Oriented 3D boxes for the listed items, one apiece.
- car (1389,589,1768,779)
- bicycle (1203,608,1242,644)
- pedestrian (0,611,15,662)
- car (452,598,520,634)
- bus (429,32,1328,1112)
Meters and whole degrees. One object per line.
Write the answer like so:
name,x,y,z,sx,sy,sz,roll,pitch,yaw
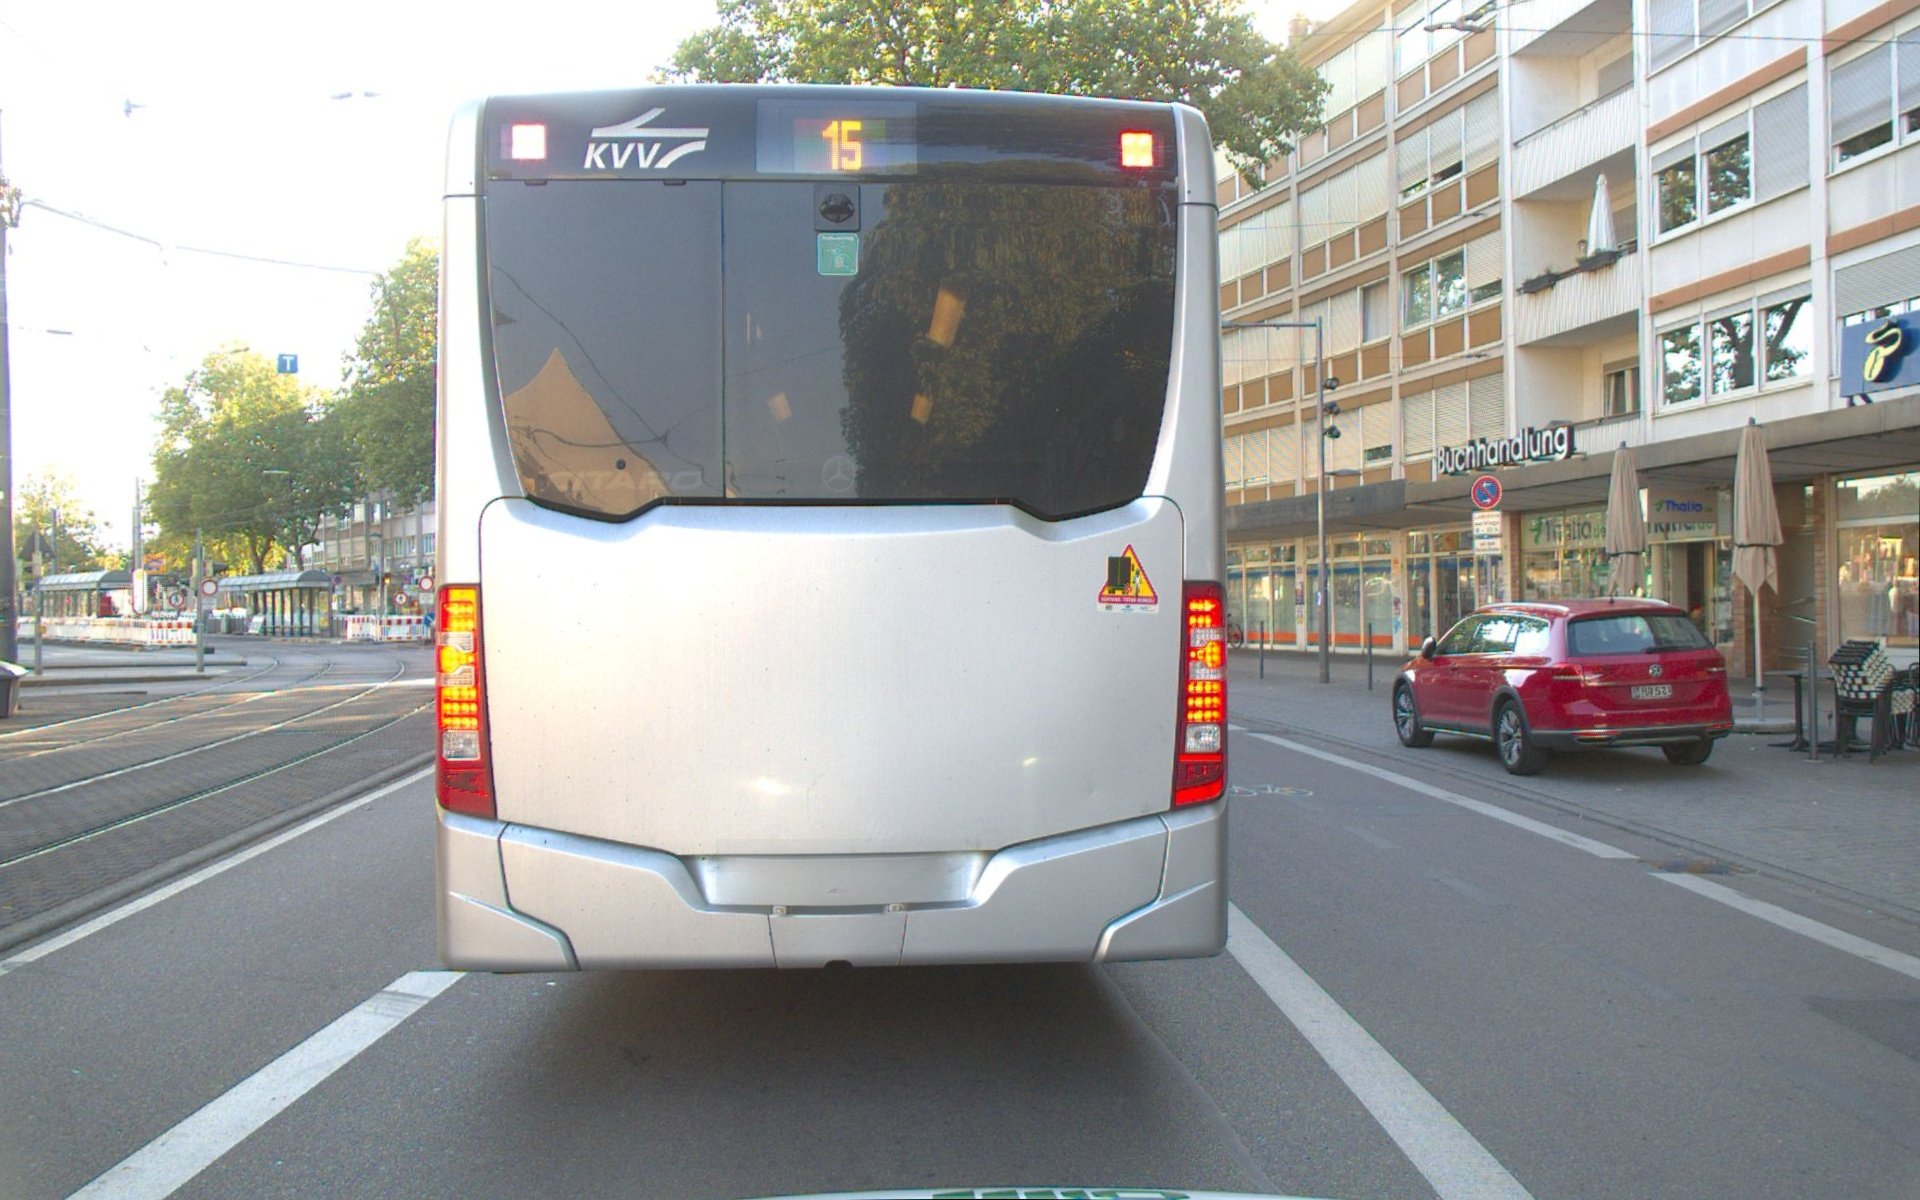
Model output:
car,5.720,0.702,15.928,1.735,1.508,4.299,-2,0,-4
bicycle,7.226,0.713,45.617,0.406,0.961,1.431,-1,0,-20
pedestrian,-32.497,1.238,56.150,0.653,1.685,0.436,-1,-1,-44
car,-25.096,0.829,87.541,1.982,1.823,3.940,1,-1,-41
bus,-0.432,-0.064,9.779,2.578,3.081,9.992,0,0,-3
